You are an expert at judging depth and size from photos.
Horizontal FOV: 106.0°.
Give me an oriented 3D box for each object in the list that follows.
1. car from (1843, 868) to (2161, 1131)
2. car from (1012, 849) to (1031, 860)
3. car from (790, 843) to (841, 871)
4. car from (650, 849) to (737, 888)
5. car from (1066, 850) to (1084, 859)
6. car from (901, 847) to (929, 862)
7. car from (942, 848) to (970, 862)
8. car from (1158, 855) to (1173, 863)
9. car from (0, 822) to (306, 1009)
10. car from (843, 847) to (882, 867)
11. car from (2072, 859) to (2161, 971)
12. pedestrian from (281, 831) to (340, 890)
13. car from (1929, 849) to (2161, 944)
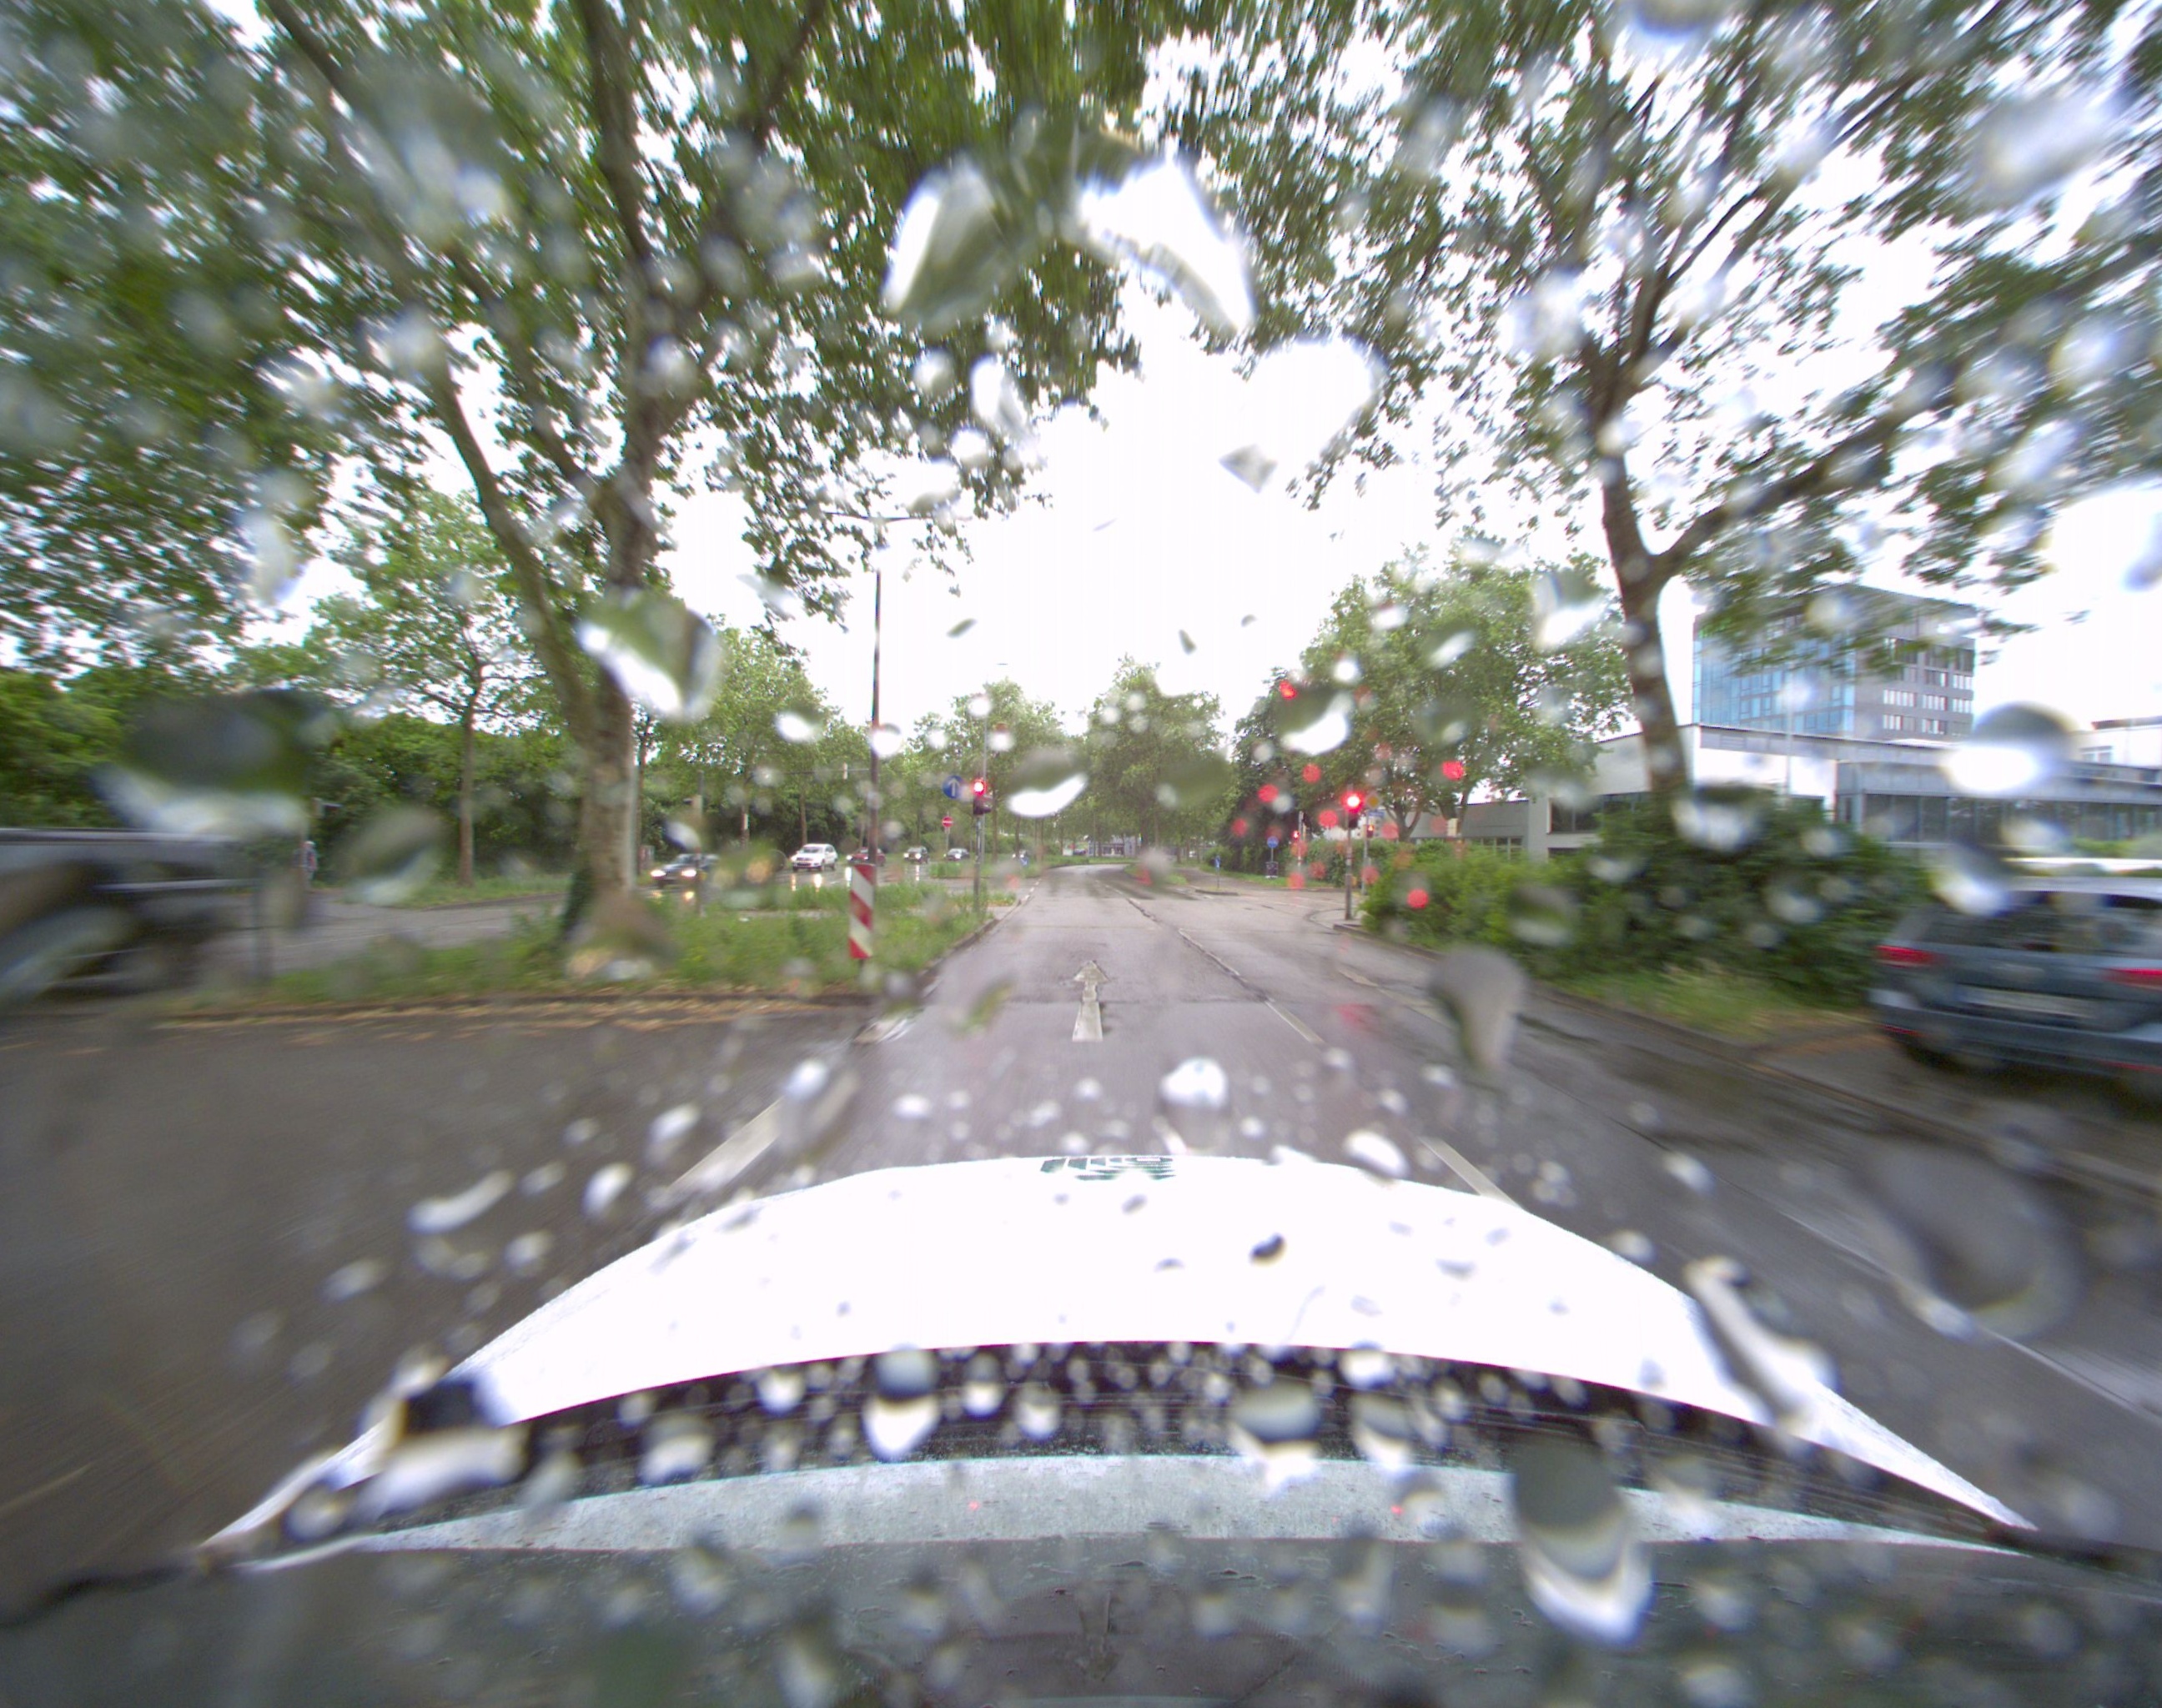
[{"bbox_3d":[7.977,0.855,6.030,4.500,1.459,1.736,1,0,-23],"label":"car"},{"bbox_3d":[-7.836,0.103,107.654,1.578,1.373,4.273,1,0,9],"label":"car"},{"bbox_3d":[-16.392,0.194,50.479,1.738,1.631,4.443,1,0,0],"label":"car"},{"bbox_3d":[-16.078,0.555,34.010,1.740,1.438,4.439,0,2,-4],"label":"car"},{"bbox_3d":[-1.485,0.053,199.361,3.986,2.014,1.993,1,-1,-9],"label":"car"},{"bbox_3d":[-15.171,0.059,74.533,1.579,1.373,3.339,1,0,6],"label":"car"},{"bbox_3d":[-13.090,0.106,85.419,1.578,1.373,4.273,1,0,9],"label":"car"},{"bbox_3d":[16.463,0.938,158.715,1.988,1.452,5.013,1,0,16],"label":"car"},{"bbox_3d":[-11.563,0.599,8.689,1.738,1.842,5.117,1,0,-2],"label":"car"},{"bbox_3d":[-16.302,0.220,61.042,1.738,1.408,4.443,1,0,-1],"label":"car"},{"bbox_3d":[19.407,0.992,13.245,4.523,1.757,1.748,1,0,-1],"label":"car"},{"bbox_3d":[-22.450,0.189,23.739,0.828,1.674,0.899,0,0,-2],"label":"pedestrian"},{"bbox_3d":[19.969,0.810,16.227,4.527,1.757,1.779,1,0,-3],"label":"car"}]
